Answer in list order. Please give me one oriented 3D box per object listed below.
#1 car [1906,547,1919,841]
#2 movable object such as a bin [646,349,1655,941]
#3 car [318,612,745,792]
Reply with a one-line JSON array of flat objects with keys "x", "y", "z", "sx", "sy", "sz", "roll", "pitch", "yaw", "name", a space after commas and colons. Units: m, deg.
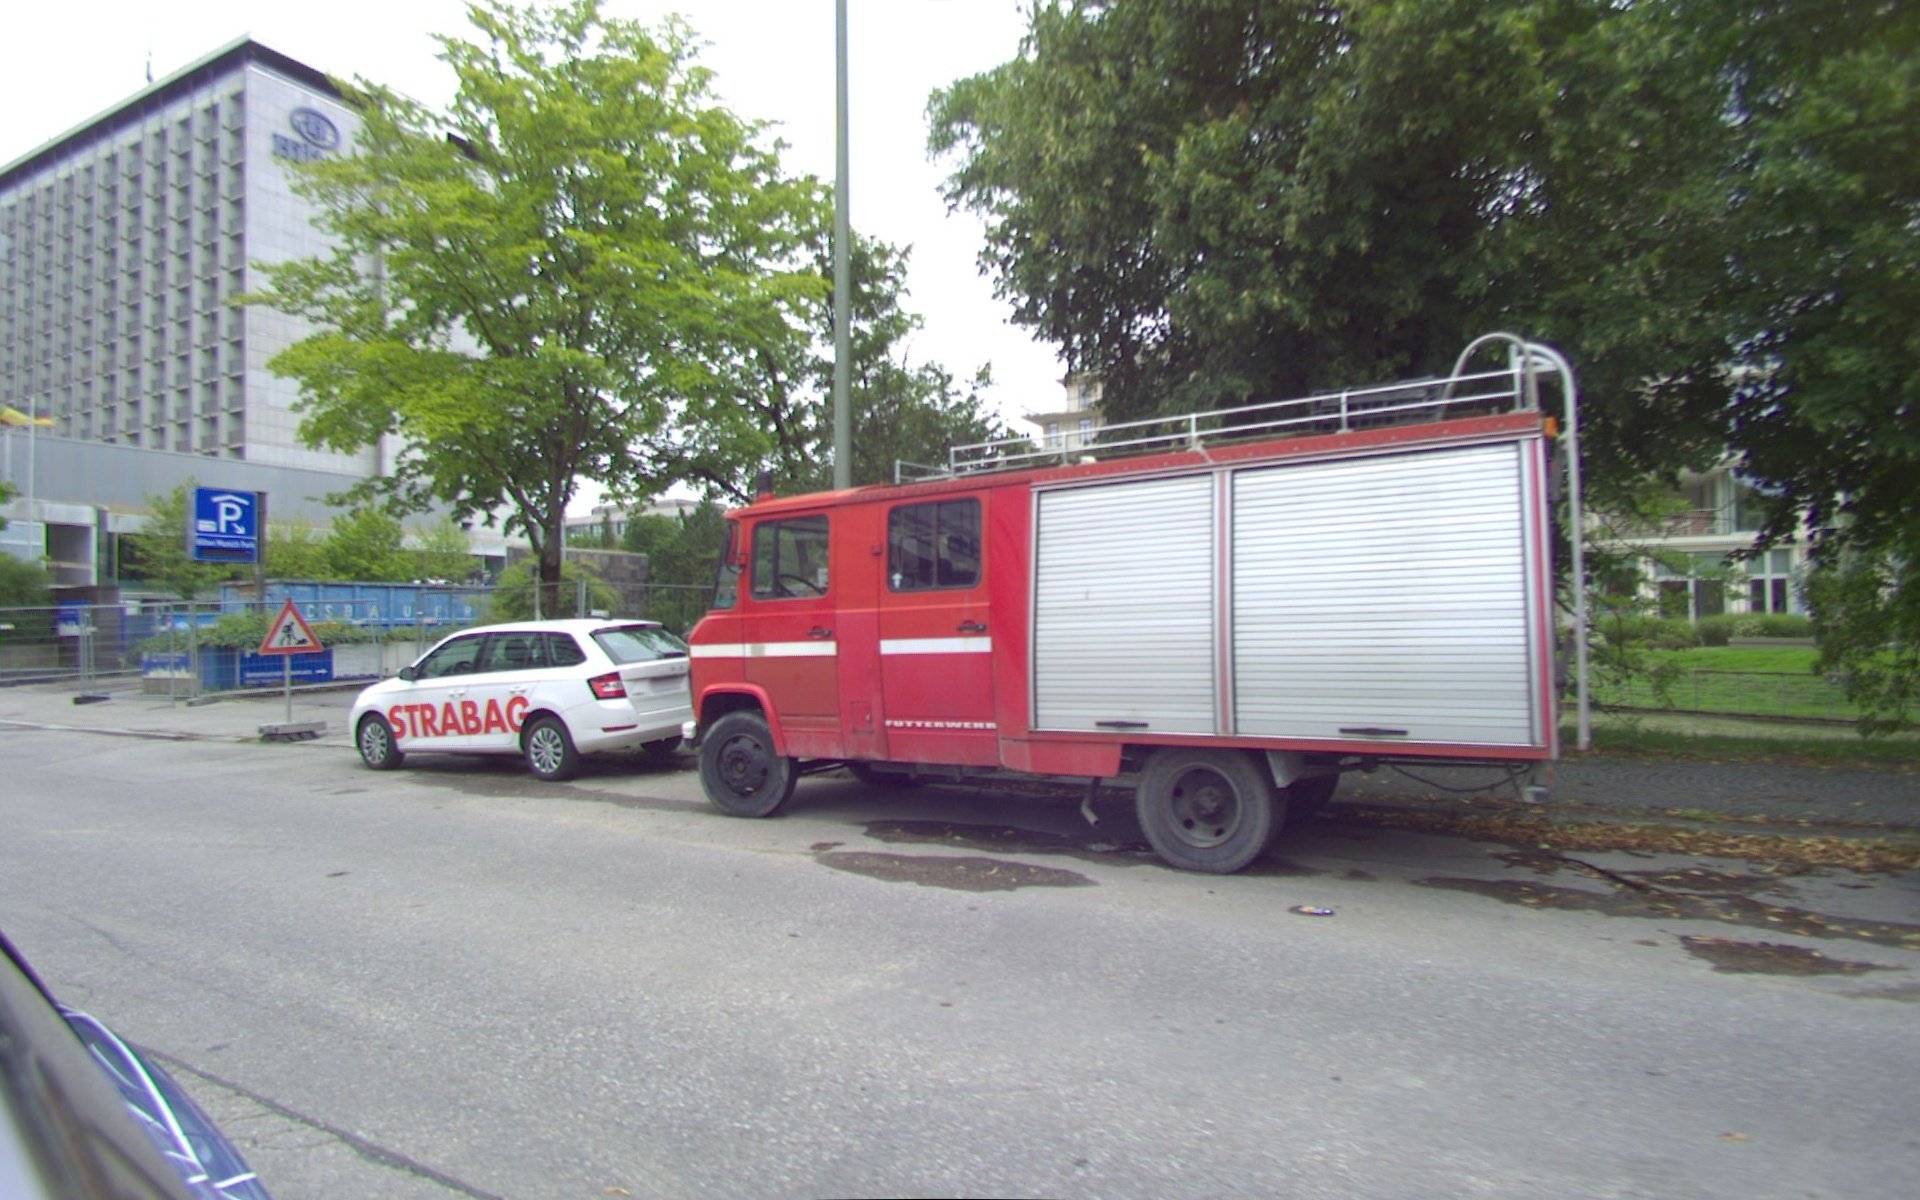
[{"x": 6.497, "y": 0.480, "z": 3.431, "sx": 4.443, "sy": 1.662, "sz": 1.763, "roll": -2, "pitch": -2, "yaw": 30, "name": "car"}, {"x": 0.808, "y": 0.289, "z": 6.785, "sx": 6.166, "sy": 2.477, "sz": 2.088, "roll": -2, "pitch": -2, "yaw": 32, "name": "movable object such as a bin"}, {"x": -4.485, "y": 0.965, "z": 10.529, "sx": 4.234, "sy": 1.561, "sz": 1.766, "roll": -2, "pitch": -2, "yaw": 26, "name": "car"}]
